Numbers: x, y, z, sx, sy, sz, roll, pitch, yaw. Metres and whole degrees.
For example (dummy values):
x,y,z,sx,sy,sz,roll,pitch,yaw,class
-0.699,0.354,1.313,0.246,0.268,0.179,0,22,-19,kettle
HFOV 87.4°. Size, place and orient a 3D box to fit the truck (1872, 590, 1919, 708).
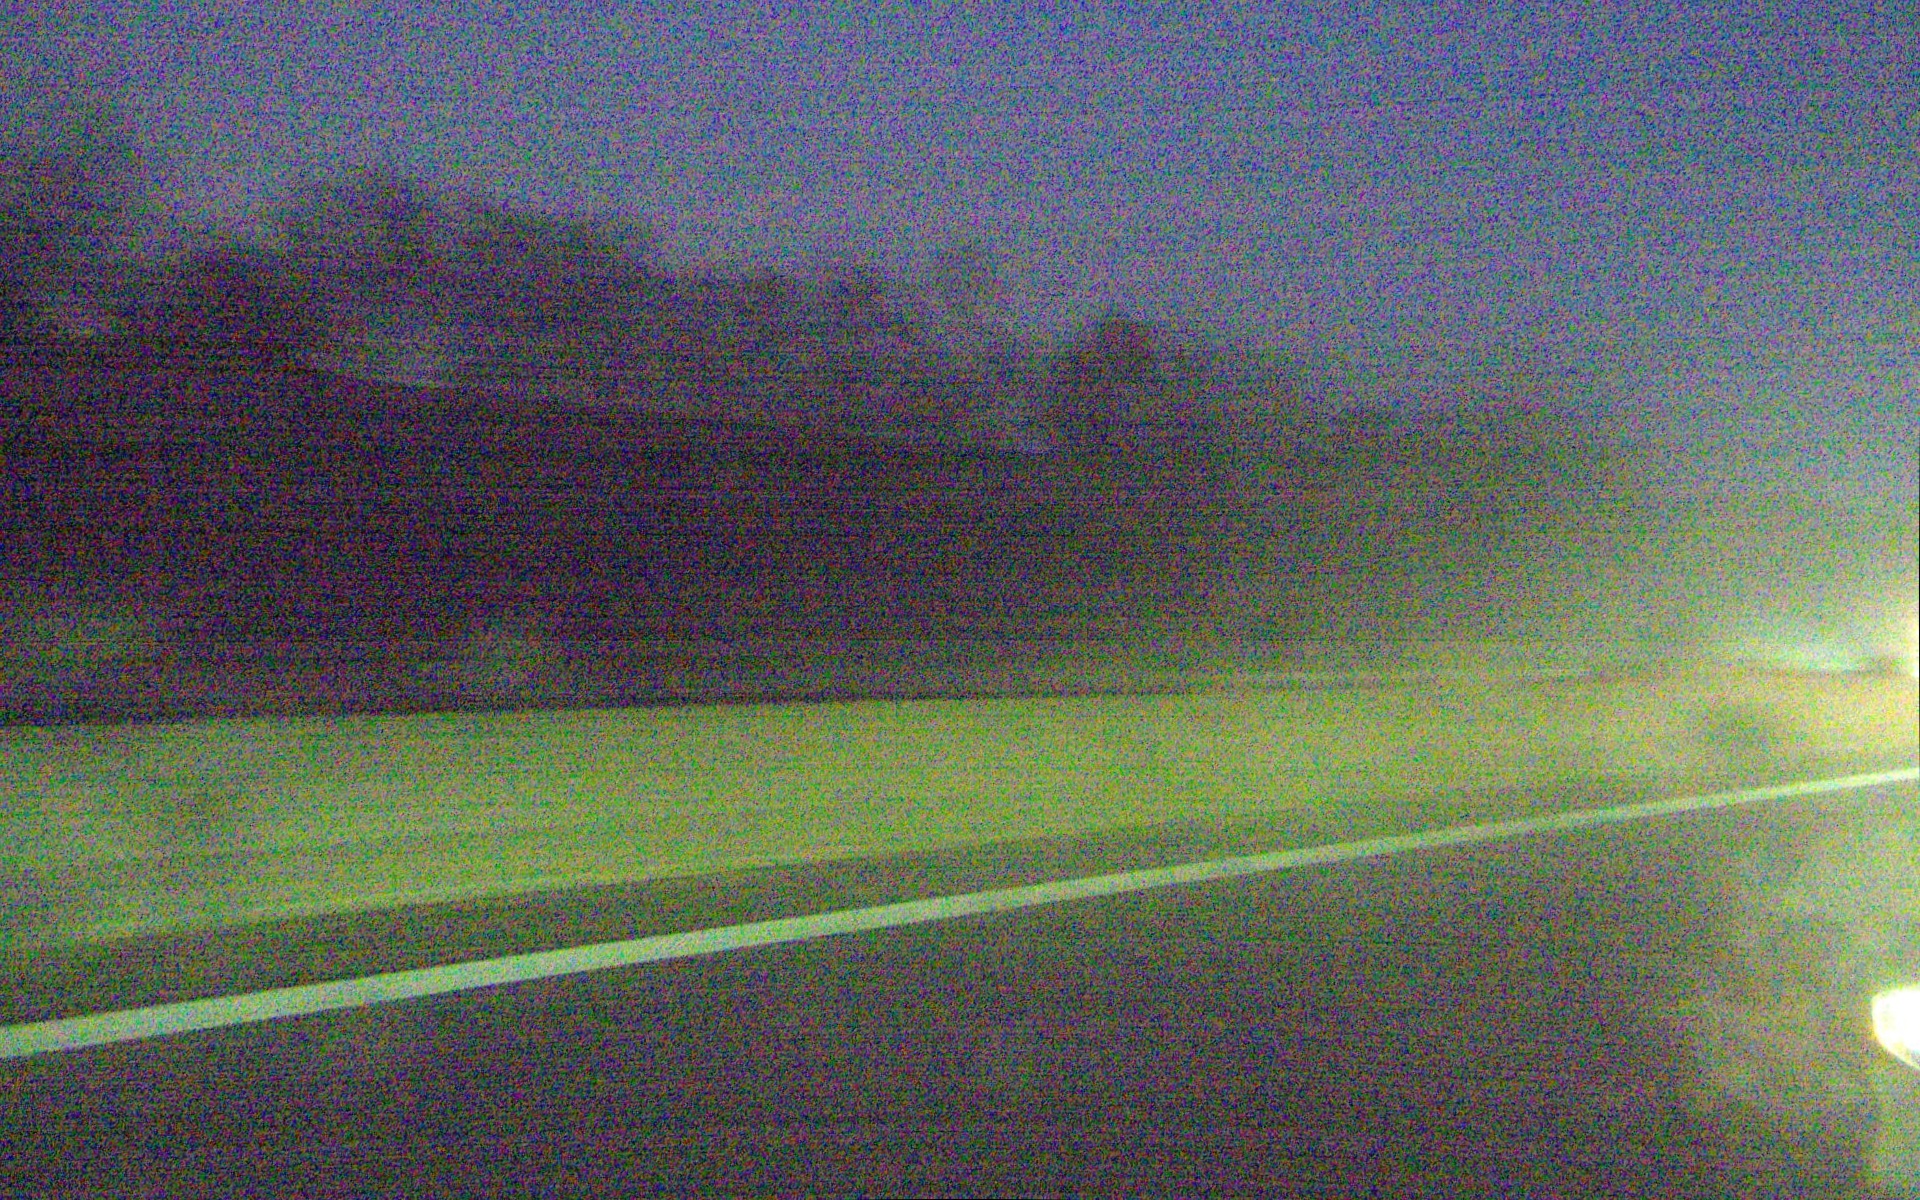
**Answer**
x,y,z,sx,sy,sz,roll,pitch,yaw,class
51.360,2.501,50.801,12.057,5.618,3.826,1,1,-28,truck
